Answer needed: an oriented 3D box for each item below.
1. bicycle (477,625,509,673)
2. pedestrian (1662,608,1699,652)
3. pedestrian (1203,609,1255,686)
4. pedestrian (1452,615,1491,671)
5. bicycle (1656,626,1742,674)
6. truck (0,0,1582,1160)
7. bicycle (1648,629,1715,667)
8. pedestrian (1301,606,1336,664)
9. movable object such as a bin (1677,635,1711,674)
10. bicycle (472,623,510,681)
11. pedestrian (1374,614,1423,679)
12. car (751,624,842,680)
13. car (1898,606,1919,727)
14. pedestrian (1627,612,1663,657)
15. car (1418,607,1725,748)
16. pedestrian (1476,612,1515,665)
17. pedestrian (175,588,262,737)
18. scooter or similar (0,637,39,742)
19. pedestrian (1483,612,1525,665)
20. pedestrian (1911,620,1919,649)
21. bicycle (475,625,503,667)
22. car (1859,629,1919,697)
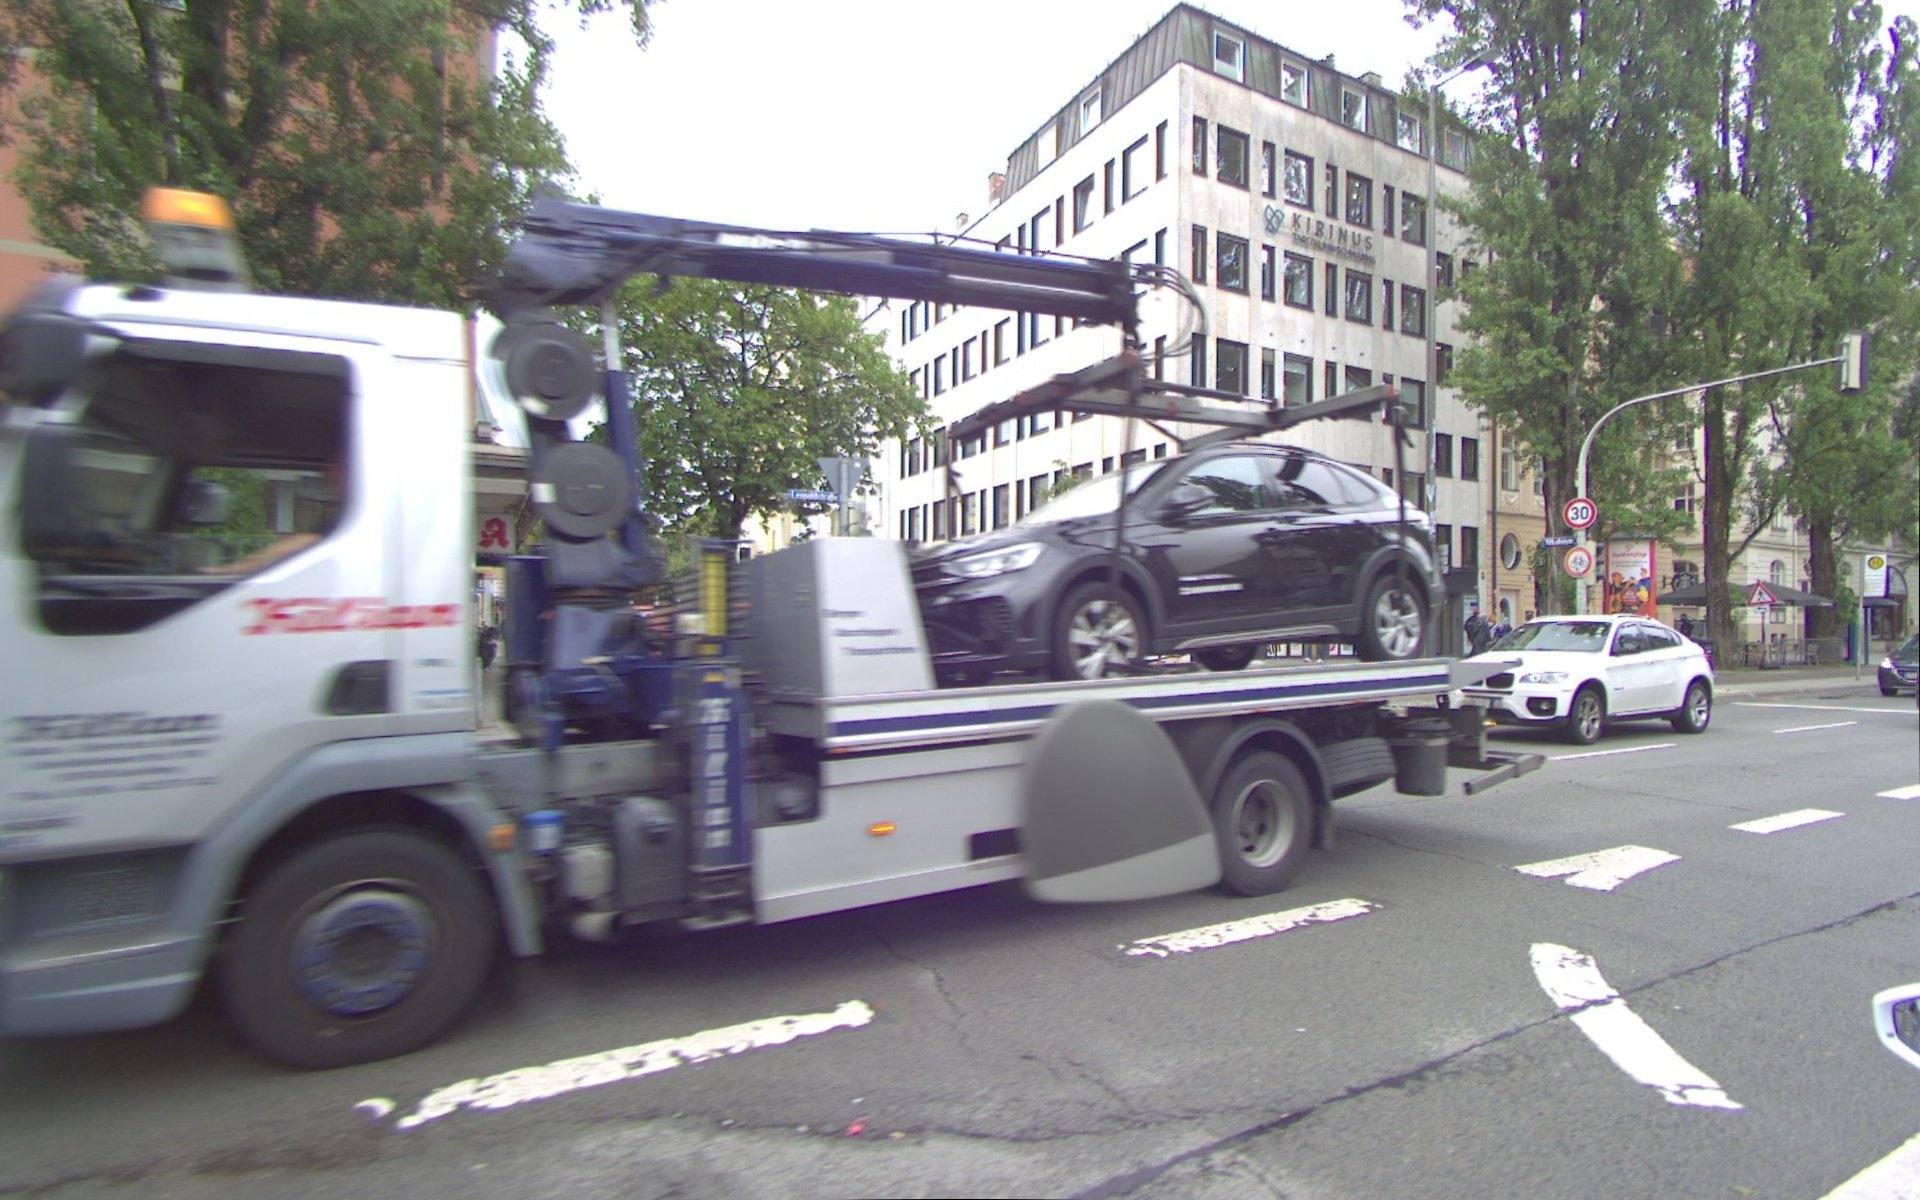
[{"bbox_3d":[-12.543,1.292,26.944,0.681,1.200,2.049,0,-1,-27],"label":"bicycle"},{"bbox_3d":[29.510,1.224,41.144,0.809,1.767,0.903,1,0,-25],"label":"pedestrian"},{"bbox_3d":[6.362,1.110,23.775,0.931,1.763,0.723,1,0,-31],"label":"pedestrian"},{"bbox_3d":[17.150,1.425,33.686,0.901,1.811,0.796,0,1,-30],"label":"pedestrian"},{"bbox_3d":[21.339,1.429,29.027,1.915,1.307,0.508,1,0,17],"label":"bicycle"},{"bbox_3d":[0.073,-0.253,5.769,8.342,3.719,2.451,1,-1,-31],"label":"truck"},{"bbox_3d":[21.803,1.446,30.354,1.776,1.102,0.507,1,0,-7],"label":"bicycle"},{"bbox_3d":[11.361,1.102,31.875,0.810,1.811,0.696,1,-1,-29],"label":"pedestrian"},{"bbox_3d":[21.327,1.579,29.200,0.712,1.055,0.854,1,0,31],"label":"movable object such as a bin"},{"bbox_3d":[-10.301,1.109,22.027,0.681,1.200,2.049,0,-1,-27],"label":"bicycle"},{"bbox_3d":[11.284,1.174,25.872,0.924,1.640,0.774,0,-1,-31],"label":"pedestrian"},{"bbox_3d":[-4.739,1.416,28.676,1.755,1.439,3.980,1,-1,-21],"label":"car"},{"bbox_3d":[16.259,0.985,15.188,4.387,1.769,1.876,1,-1,-30],"label":"car"},{"bbox_3d":[27.303,1.363,40.038,0.943,1.767,0.840,1,0,-30],"label":"pedestrian"},{"bbox_3d":[8.853,1.016,14.449,4.581,1.738,1.828,1,-2,-31],"label":"car"},{"bbox_3d":[17.566,1.252,32.954,0.966,1.704,0.728,0,1,-31],"label":"pedestrian"},{"bbox_3d":[-9.260,0.760,12.574,0.768,1.794,0.721,1,-1,-29],"label":"pedestrian"},{"bbox_3d":[-11.467,1.025,11.438,1.390,1.189,0.404,1,-1,-35],"label":"scooter or similar"},{"bbox_3d":[16.813,1.175,31.060,0.978,1.588,0.746,1,0,-33],"label":"pedestrian"},{"bbox_3d":[52.258,1.860,54.508,0.795,1.558,0.764,1,-1,-31],"label":"pedestrian"},{"bbox_3d":[-14.230,1.358,30.302,0.681,1.200,2.049,0,-1,-27],"label":"bicycle"},{"bbox_3d":[22.191,1.384,22.772,3.952,1.458,1.633,1,-2,-32],"label":"car"}]
